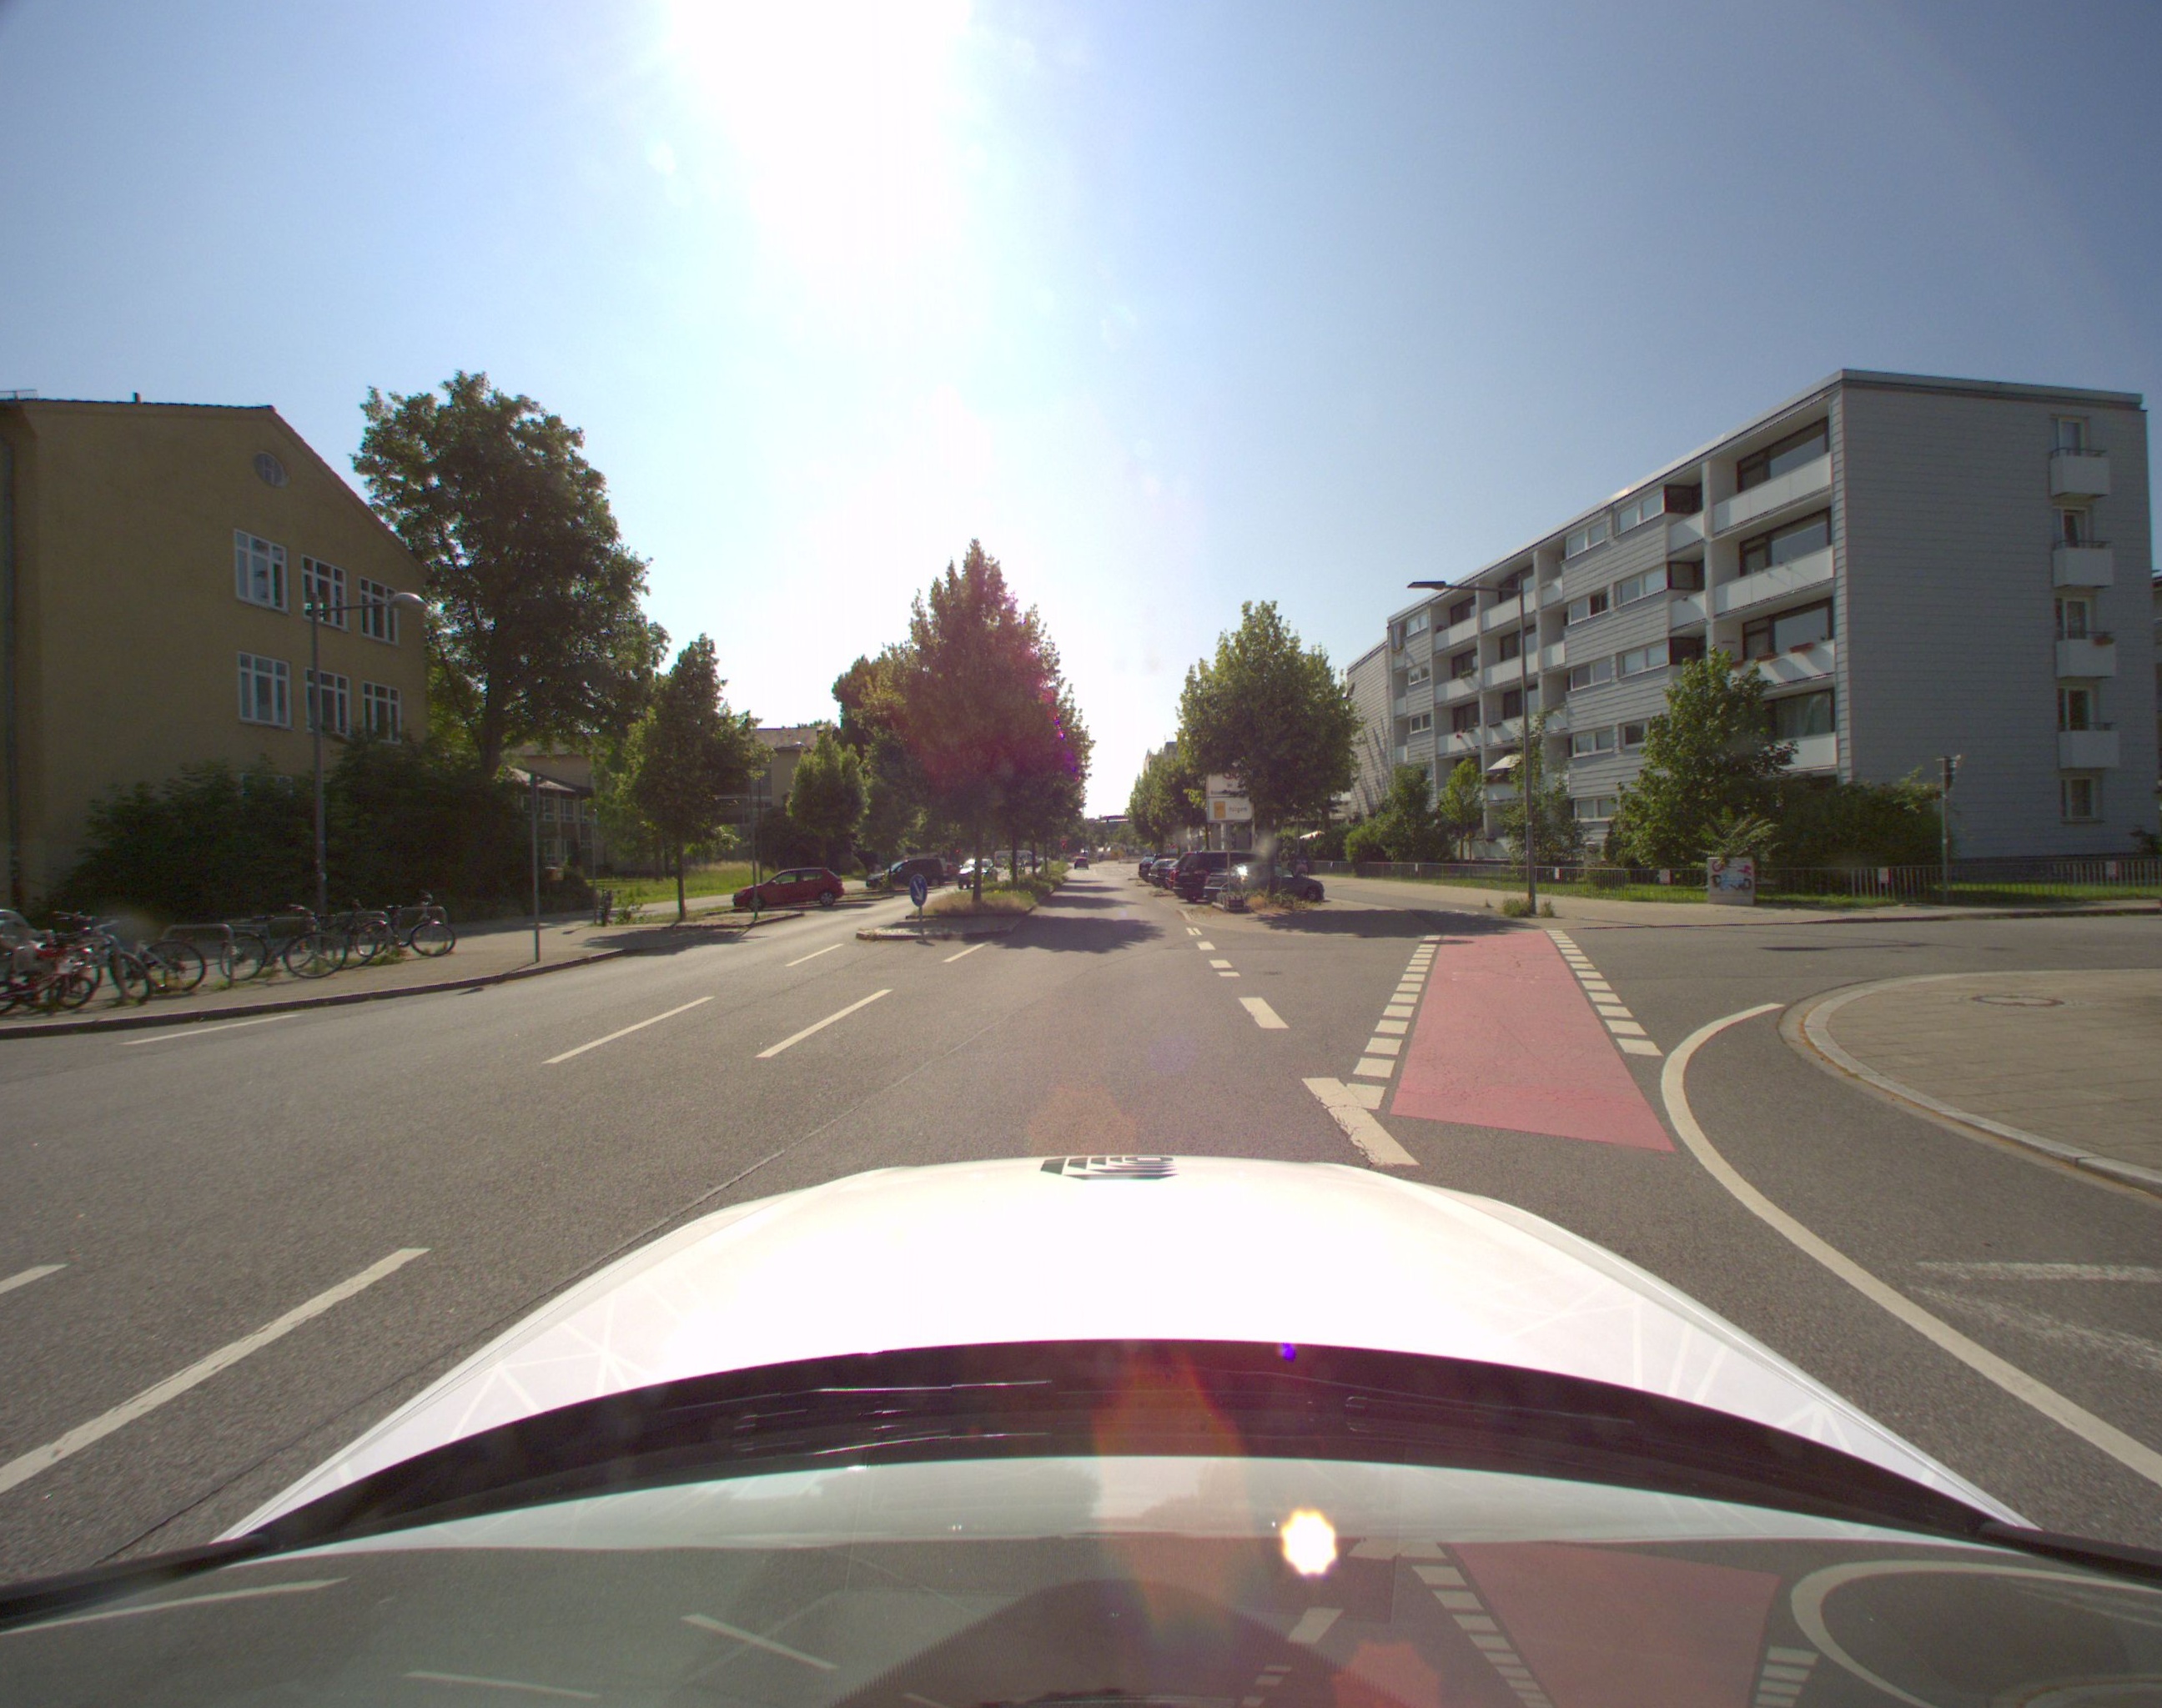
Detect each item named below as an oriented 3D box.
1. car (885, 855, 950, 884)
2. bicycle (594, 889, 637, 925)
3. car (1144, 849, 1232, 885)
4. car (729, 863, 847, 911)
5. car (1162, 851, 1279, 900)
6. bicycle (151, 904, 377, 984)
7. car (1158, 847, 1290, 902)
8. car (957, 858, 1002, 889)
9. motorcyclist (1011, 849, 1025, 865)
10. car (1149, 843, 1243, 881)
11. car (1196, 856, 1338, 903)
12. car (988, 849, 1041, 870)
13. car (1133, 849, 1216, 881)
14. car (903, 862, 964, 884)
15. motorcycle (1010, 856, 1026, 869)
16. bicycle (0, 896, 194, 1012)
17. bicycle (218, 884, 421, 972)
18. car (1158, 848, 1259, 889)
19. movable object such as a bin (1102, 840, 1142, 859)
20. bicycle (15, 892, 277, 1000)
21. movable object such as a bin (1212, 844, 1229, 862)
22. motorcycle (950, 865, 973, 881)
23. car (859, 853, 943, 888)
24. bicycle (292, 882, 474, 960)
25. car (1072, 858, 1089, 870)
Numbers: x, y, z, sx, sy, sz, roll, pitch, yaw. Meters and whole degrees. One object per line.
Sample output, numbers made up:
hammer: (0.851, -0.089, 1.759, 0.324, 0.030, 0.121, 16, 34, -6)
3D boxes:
car: (-10.553, 0.975, 52.622, 3.780, 1.772, 1.804, -1, -1, -24)
bicycle: (-12.955, 1.460, 22.697, 0.519, 0.903, 1.269, -3, -1, -4)
car: (5.357, 0.646, 40.873, 3.989, 1.640, 1.746, -1, 0, -12)
car: (-10.994, 1.196, 30.689, 4.001, 1.466, 1.986, -3, 1, -21)
car: (5.235, 0.795, 30.518, 4.012, 1.640, 1.862, -1, -2, -31)
bicycle: (-12.245, 1.340, 12.265, 2.538, 0.987, 0.739, -3, 0, -2)
car: (4.860, 0.648, 27.573, 4.135, 1.640, 2.023, -1, 0, -33)
car: (-5.466, 1.021, 44.240, 1.735, 1.547, 4.074, -3, 0, 2)
motorcyclist: (-4.959, 0.259, 64.118, 0.897, 1.221, 1.062, -1, 0, 1)
car: (5.374, 0.343, 38.051, 4.002, 1.640, 1.740, -2, 1, -22)
car: (5.687, 0.734, 24.836, 4.007, 1.236, 1.738, -1, 0, -25)
car: (-9.412, 0.768, 116.368, 7.411, 2.674, 2.900, -2, 0, -3)
car: (5.438, 0.610, 47.322, 4.764, 1.660, 1.735, -1, 0, -33)
car: (-10.391, 1.334, 57.536, 3.859, 1.423, 1.697, -1, -1, -35)
motorcycle: (-4.943, 0.645, 64.059, 0.920, 0.992, 2.236, -1, 0, 2)
bicycle: (-12.616, 1.224, 9.980, 2.538, 1.256, 0.739, -3, 0, -2)
bicycle: (-12.493, 1.194, 13.417, 2.508, 1.256, 0.739, -3, 0, -2)
car: (5.618, 0.607, 35.979, 3.999, 1.640, 1.789, -1, 0, -19)
movable object such as a bin: (10.101, -1.094, 201.688, 9.637, 4.550, 3.166, -1, 0, 2)
bicycle: (-12.614, 1.223, 11.046, 2.538, 1.239, 0.739, -3, 0, -2)
movable object such as a bin: (13.542, -0.104, 79.101, 1.304, 1.592, 1.395, -4, 0, -2)
motorcycle: (-10.100, 1.625, 68.697, 1.843, 1.284, 0.691, -1, 0, -6)
car: (-10.273, 0.908, 46.662, 4.208, 1.816, 1.982, -2, 1, -37)
bicycle: (-12.479, 1.186, 14.606, 2.538, 1.256, 0.739, -1, 0, -2)
car: (-0.081, 1.215, 99.119, 1.989, 1.398, 3.996, -1, 0, -2)
